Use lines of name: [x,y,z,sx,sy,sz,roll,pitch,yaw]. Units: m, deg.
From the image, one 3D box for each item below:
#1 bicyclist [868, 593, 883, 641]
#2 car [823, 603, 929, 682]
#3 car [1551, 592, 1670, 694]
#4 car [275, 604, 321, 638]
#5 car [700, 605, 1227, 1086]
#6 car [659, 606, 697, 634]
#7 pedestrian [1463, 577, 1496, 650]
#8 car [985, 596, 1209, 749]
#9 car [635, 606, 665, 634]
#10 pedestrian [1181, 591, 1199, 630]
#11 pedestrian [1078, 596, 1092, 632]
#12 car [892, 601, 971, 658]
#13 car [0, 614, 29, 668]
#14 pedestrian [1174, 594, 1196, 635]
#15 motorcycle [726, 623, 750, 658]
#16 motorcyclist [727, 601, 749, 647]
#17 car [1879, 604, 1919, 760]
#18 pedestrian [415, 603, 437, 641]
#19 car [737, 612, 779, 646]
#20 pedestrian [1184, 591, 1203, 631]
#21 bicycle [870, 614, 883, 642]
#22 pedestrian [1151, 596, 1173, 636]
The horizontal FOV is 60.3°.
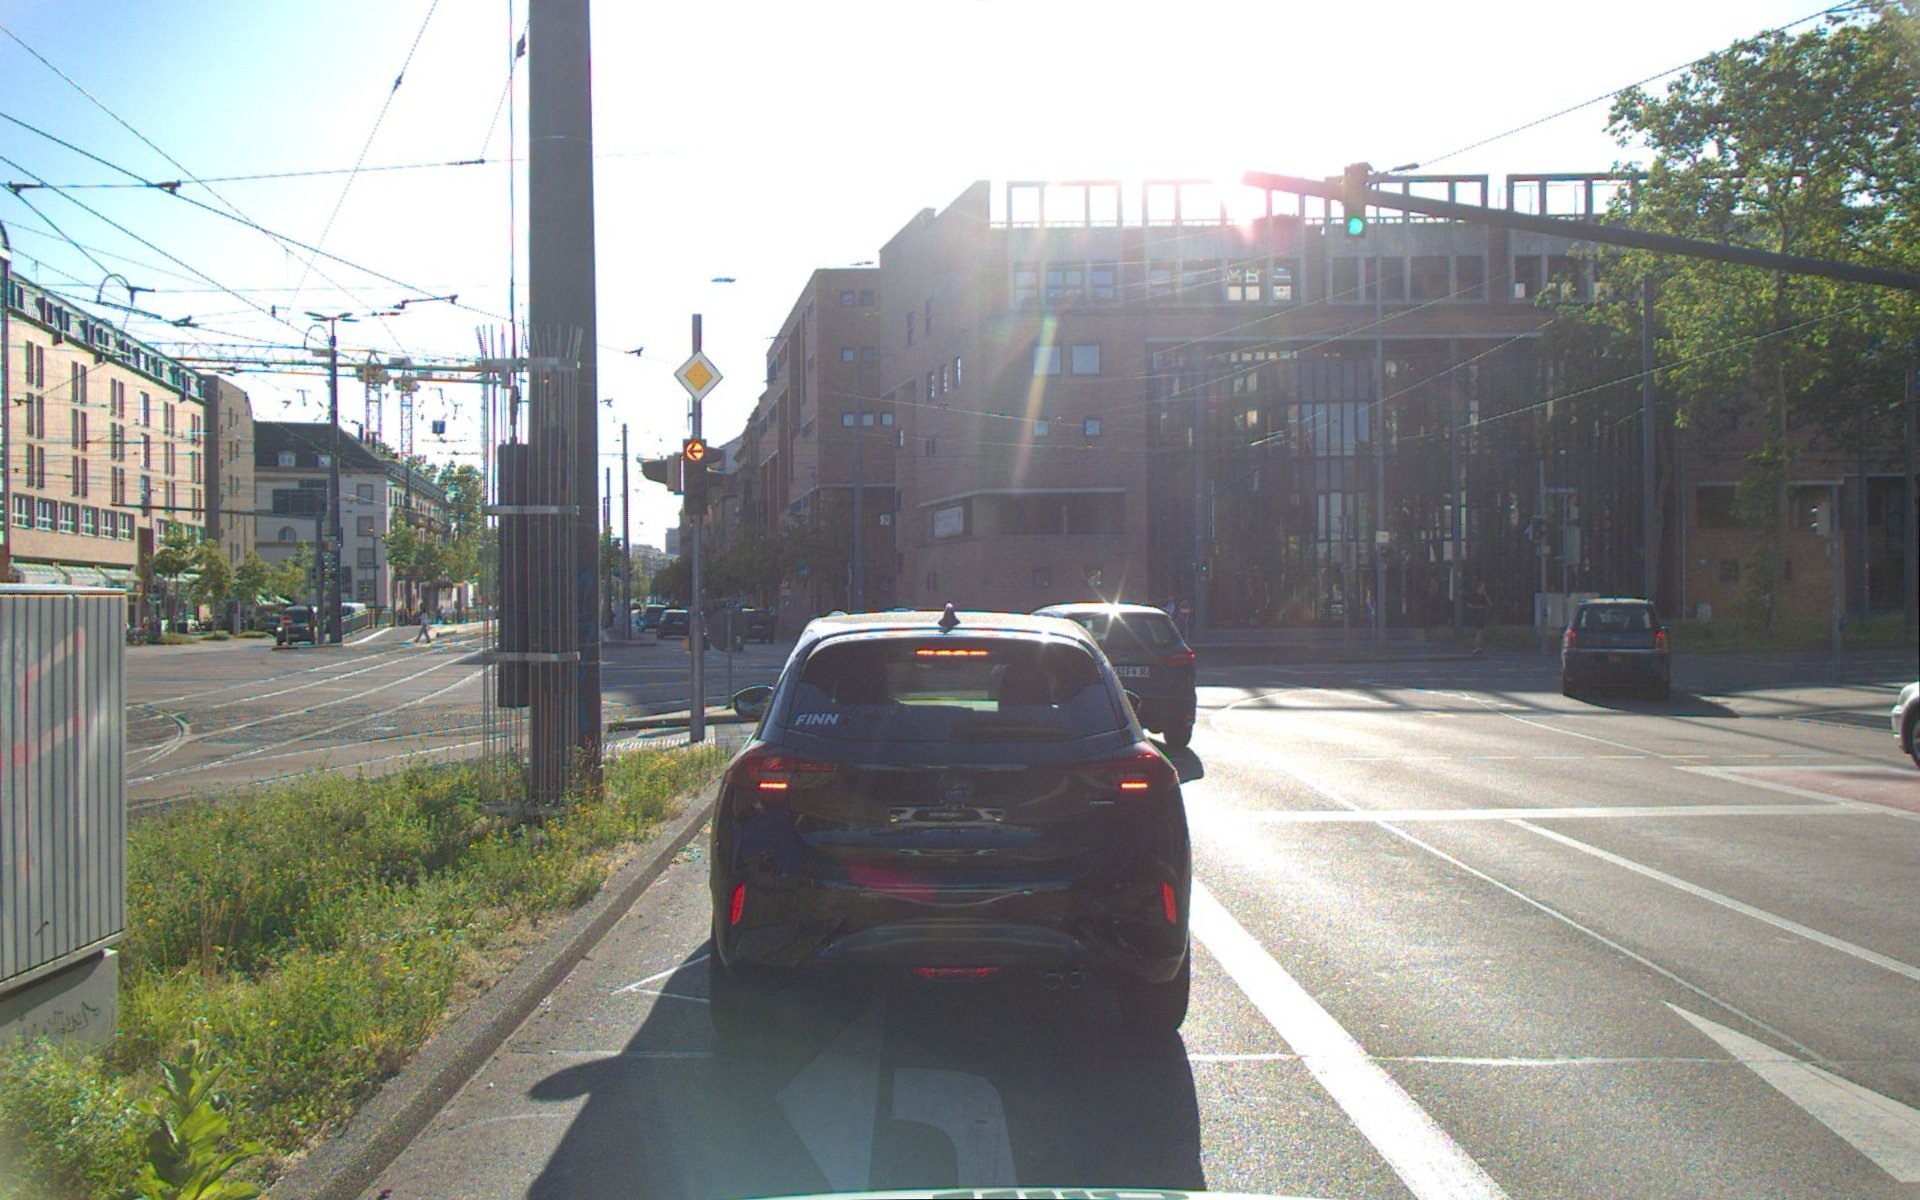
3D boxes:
bicyclist: [-3.220,0.630,63.136,0.565,1.822,0.863,-1,0,-2]
car: [-1.840,0.846,34.782,1.777,1.518,4.487,0,0,-9]
car: [11.372,0.696,29.131,1.652,1.657,4.465,0,0,18]
car: [-31.205,0.979,78.021,1.717,1.531,3.861,-1,0,-18]
car: [0.027,0.761,7.098,1.615,1.458,4.000,0,0,0]
car: [-14.314,1.002,83.816,1.707,1.373,3.988,0,0,-12]
pedestrian: [12.919,0.341,41.100,0.692,1.789,0.560,-1,0,25]
car: [1.391,0.715,18.386,1.654,1.458,4.147,1,1,-7]
car: [-19.175,1.211,102.190,1.706,1.680,3.988,0,0,-12]
pedestrian: [9.708,0.447,69.852,0.722,1.645,0.561,-1,0,8]
pedestrian: [5.081,0.574,67.381,0.519,1.455,0.598,-1,0,-1]
car: [-0.841,0.794,46.286,1.773,1.483,3.994,1,0,-7]
car: [-26.957,1.137,44.759,1.542,1.474,3.996,-1,0,-5]
pedestrian: [9.196,0.598,67.658,0.881,1.645,0.561,-1,0,8]
motorcycle: [-7.593,1.375,56.577,0.761,1.135,1.965,-1,0,-9]
motorcyclist: [-7.619,0.826,56.722,0.731,1.557,1.019,-1,0,-8]
car: [9.936,0.769,13.949,1.716,1.456,4.486,-1,0,-3]
pedestrian: [-23.572,0.980,72.970,0.757,1.669,0.736,0,0,-31]
car: [-9.293,1.303,75.972,1.774,1.483,3.992,1,0,-9]
pedestrian: [9.732,0.446,68.939,0.722,1.645,0.561,-1,0,8]
bicycle: [-3.192,1.057,63.259,0.482,1.015,2.327,-1,0,-3]
pedestrian: [8.330,0.652,68.265,0.881,1.645,0.561,-1,0,8]
